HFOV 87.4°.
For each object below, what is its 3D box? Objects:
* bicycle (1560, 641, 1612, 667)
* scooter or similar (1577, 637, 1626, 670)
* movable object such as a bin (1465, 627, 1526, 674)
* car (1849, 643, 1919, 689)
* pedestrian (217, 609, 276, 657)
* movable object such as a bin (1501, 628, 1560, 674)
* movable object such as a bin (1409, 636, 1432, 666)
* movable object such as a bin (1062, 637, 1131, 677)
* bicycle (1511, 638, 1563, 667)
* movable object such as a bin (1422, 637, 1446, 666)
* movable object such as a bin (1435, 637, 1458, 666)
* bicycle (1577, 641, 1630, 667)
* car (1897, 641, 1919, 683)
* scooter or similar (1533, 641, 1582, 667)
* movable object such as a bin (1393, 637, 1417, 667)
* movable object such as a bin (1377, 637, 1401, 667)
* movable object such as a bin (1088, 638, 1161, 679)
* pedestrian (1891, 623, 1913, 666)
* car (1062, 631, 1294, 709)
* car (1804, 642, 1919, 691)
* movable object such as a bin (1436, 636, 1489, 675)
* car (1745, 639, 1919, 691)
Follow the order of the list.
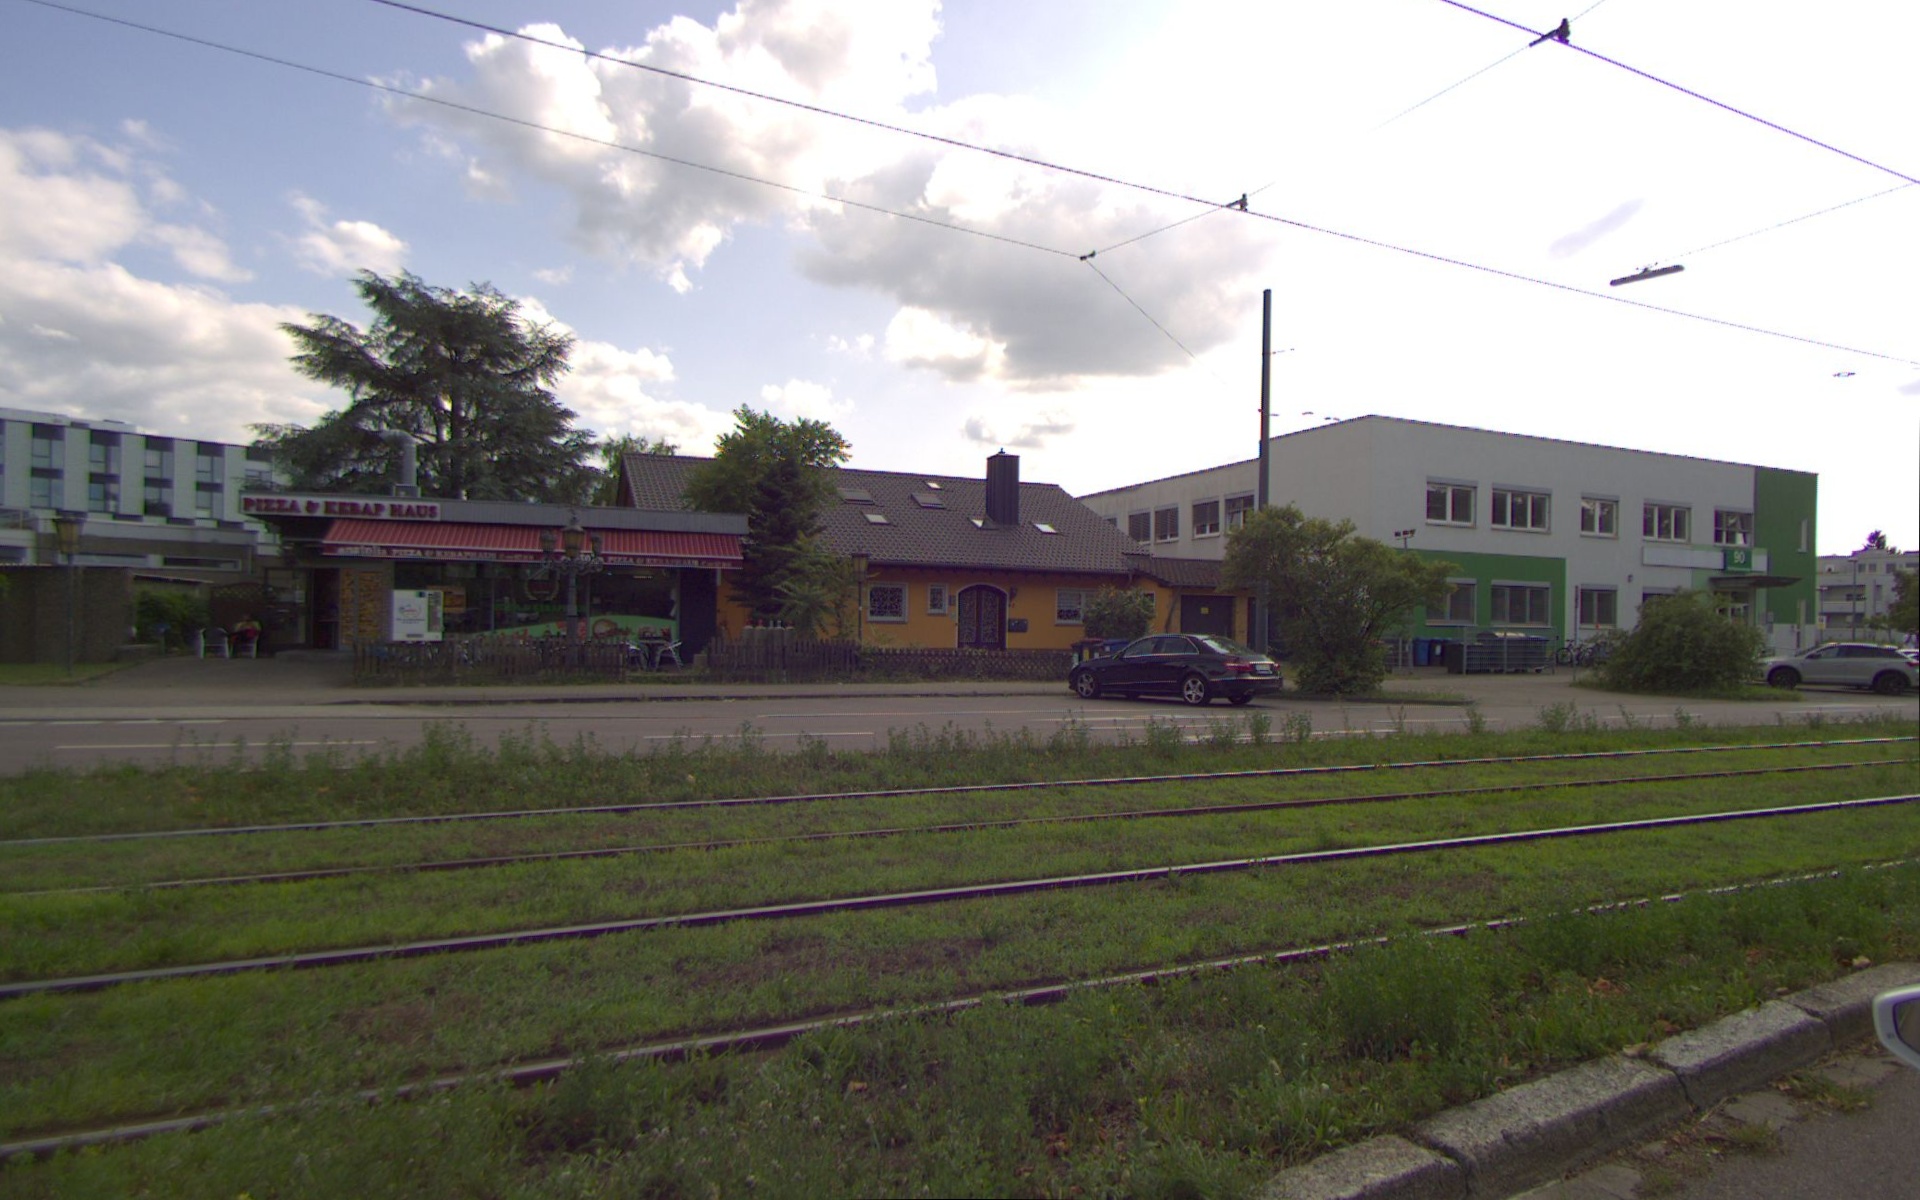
[{"bbox_3d":[25.208,2.156,40.503,0.452,0.911,1.854,2,0,-22],"label":"bicycle"},{"bbox_3d":[24.593,2.034,38.507,1.072,1.171,1.307,3,0,6],"label":"scooter or similar"},{"bbox_3d":[18.469,1.735,34.653,1.686,1.540,1.004,1,1,-21],"label":"movable object such as a bin"},{"bbox_3d":[33.610,2.292,34.752,4.169,1.501,1.875,0,-2,39],"label":"car"},{"bbox_3d":[-18.005,0.828,25.378,0.918,1.161,1.151,1,-1,-21],"label":"pedestrian"},{"bbox_3d":[20.022,1.774,35.273,1.580,1.540,1.004,1,1,-21],"label":"movable object such as a bin"},{"bbox_3d":[17.247,1.904,37.626,0.556,1.056,0.567,0,1,-22],"label":"movable object such as a bin"},{"bbox_3d":[3.998,1.656,29.570,1.595,1.107,1.251,1,-1,-24],"label":"movable object such as a bin"},{"bbox_3d":[22.513,2.035,39.234,0.452,0.999,1.854,2,0,-22],"label":"bicycle"},{"bbox_3d":[17.851,1.931,37.852,0.556,1.056,0.567,0,1,-22],"label":"movable object such as a bin"},{"bbox_3d":[18.452,1.939,38.111,0.556,1.056,0.567,0,1,-22],"label":"movable object such as a bin"},{"bbox_3d":[26.235,2.202,40.972,0.452,0.911,1.854,2,0,-22],"label":"bicycle"},{"bbox_3d":[36.377,2.257,35.823,4.169,1.501,1.875,0,-2,39],"label":"car"},{"bbox_3d":[23.778,2.130,40.027,0.452,0.911,1.732,2,0,-22],"label":"scooter or similar"},{"bbox_3d":[16.535,1.934,37.341,0.556,1.056,0.567,0,1,-22],"label":"movable object such as a bin"},{"bbox_3d":[15.828,1.912,37.073,0.556,1.056,0.567,0,1,-22],"label":"movable object such as a bin"},{"bbox_3d":[4.617,1.631,28.244,1.595,1.115,1.251,1,-1,-24],"label":"movable object such as a bin"},{"bbox_3d":[40.775,1.910,43.477,0.502,1.852,0.544,1,-1,-25],"label":"pedestrian"},{"bbox_3d":[4.525,1.432,21.394,1.870,1.425,4.594,4,-3,-42],"label":"car"},{"bbox_3d":[30.978,2.212,33.546,4.169,1.501,1.875,0,-2,39],"label":"car"},{"bbox_3d":[17.057,1.857,34.102,1.237,1.251,1.004,1,1,-20],"label":"movable object such as a bin"},{"bbox_3d":[28.157,2.066,32.517,4.163,1.501,1.878,0,-2,34],"label":"car"}]
